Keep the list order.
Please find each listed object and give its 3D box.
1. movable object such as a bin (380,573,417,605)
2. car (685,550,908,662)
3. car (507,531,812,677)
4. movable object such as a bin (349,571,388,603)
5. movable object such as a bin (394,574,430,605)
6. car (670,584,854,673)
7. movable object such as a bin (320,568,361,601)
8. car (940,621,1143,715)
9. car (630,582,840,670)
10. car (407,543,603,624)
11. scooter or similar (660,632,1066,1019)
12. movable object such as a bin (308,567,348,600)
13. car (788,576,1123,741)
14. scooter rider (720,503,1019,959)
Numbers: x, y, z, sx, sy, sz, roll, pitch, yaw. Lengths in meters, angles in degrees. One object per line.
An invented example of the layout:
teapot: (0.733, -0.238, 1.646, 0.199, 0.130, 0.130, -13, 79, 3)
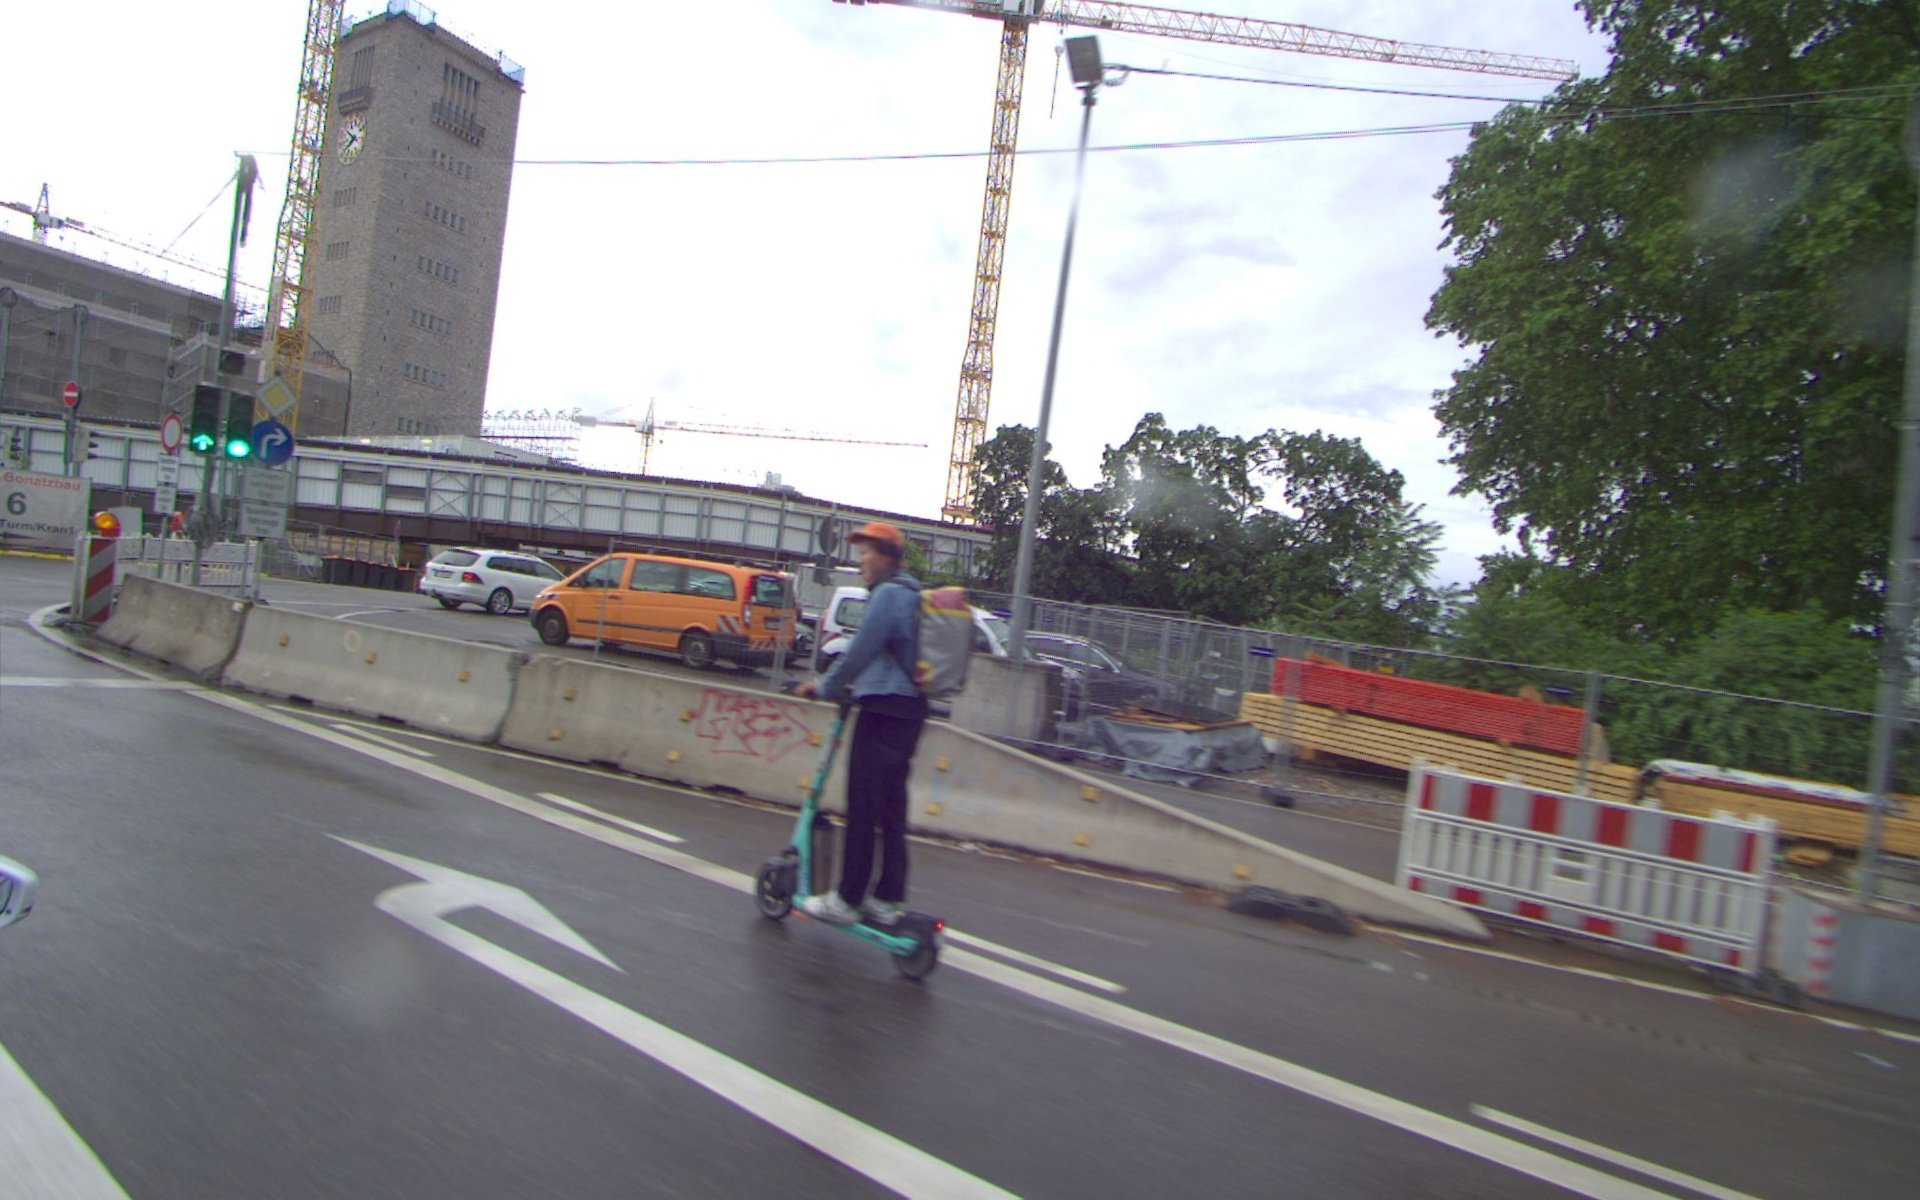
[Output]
movable object such as a bin: (-21.648, -0.422, 38.788, 0.719, 1.115, 0.991, 4, -1, 34)
car: (-4.457, 0.156, 27.481, 5.500, 2.342, 2.051, 7, 0, 19)
car: (-5.548, 0.075, 18.588, 5.067, 1.998, 1.919, 7, -2, 20)
movable object such as a bin: (-22.289, -0.496, 37.910, 0.719, 1.115, 0.991, 4, -1, 34)
movable object such as a bin: (-21.759, -0.404, 39.934, 0.719, 1.115, 0.991, 4, -1, 34)
car: (-4.860, 0.698, 24.769, 3.861, 1.639, 1.945, 7, 0, 19)
movable object such as a bin: (-22.758, -0.557, 36.967, 0.735, 1.115, 0.991, 4, -1, 34)
car: (1.765, 1.419, 21.661, 3.927, 1.578, 1.765, 4, -1, 22)
car: (-4.751, 0.557, 21.348, 3.840, 1.469, 1.918, 5, -1, 21)
car: (-10.989, -0.339, 24.644, 1.781, 1.470, 4.216, 7, -1, 21)
scooter or similar: (-0.463, 0.918, 4.578, 1.638, 1.334, 0.599, 6, -1, 28)
movable object such as a bin: (-23.526, -0.608, 37.475, 0.719, 1.115, 0.991, 4, -1, 34)
car: (-0.109, 0.916, 16.514, 4.995, 1.827, 1.852, 8, -1, 25)
scooter rider: (-0.403, 0.535, 4.573, 0.980, 1.806, 0.599, 6, -1, 28)
